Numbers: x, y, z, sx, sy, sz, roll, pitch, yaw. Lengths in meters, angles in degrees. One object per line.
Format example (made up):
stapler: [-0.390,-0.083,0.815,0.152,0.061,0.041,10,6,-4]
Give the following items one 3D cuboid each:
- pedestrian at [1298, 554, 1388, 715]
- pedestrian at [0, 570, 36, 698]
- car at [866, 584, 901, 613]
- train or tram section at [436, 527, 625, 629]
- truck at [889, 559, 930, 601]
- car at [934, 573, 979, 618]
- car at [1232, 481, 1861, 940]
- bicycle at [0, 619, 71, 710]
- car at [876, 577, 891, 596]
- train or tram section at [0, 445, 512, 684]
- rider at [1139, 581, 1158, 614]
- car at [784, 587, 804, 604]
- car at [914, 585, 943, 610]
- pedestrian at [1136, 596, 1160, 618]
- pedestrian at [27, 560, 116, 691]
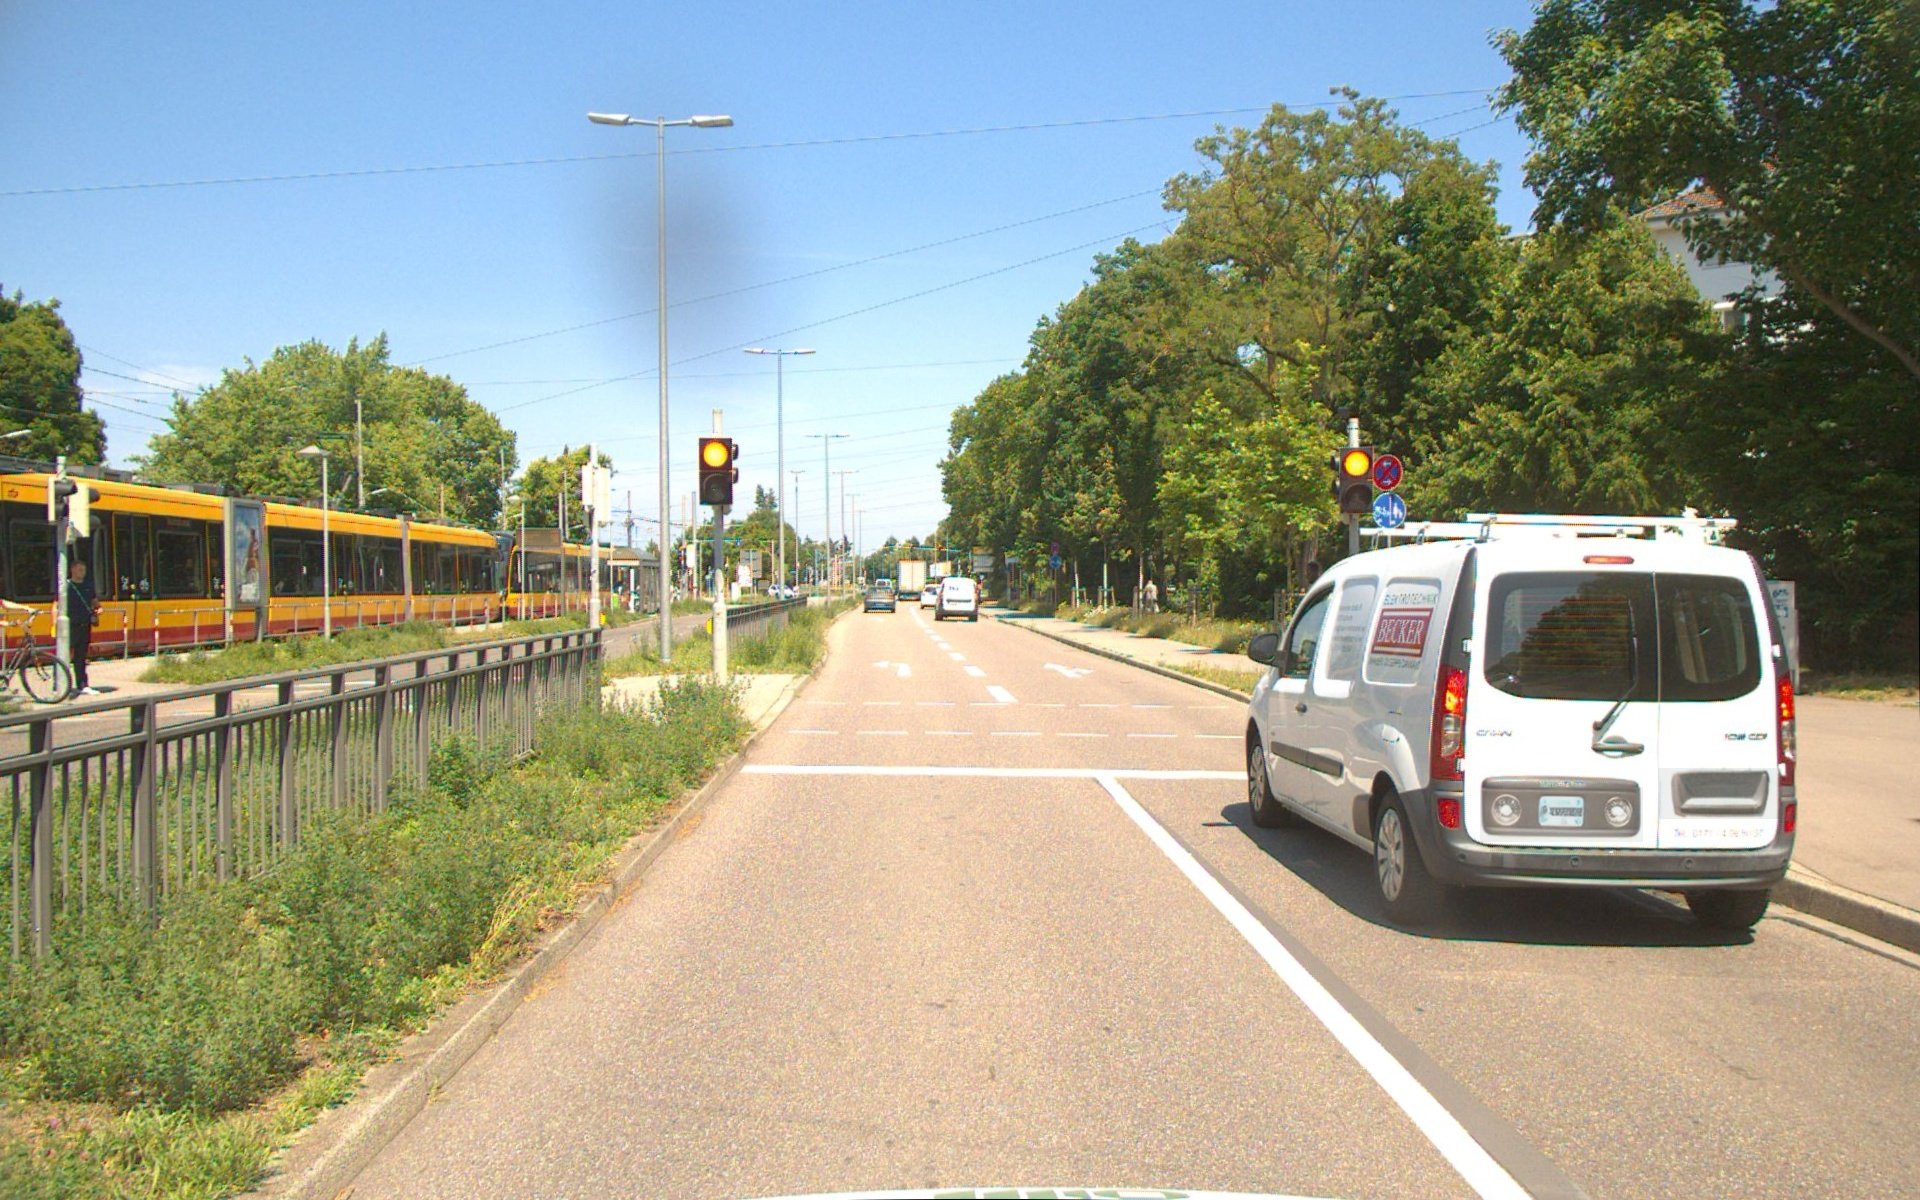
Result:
pedestrian: [4.606,0.403,19.942,1.024,1.882,0.758,1,0,12]
pedestrian: [-12.778,0.433,21.780,0.802,1.657,0.705,0,0,3]
car: [-4.056,-0.110,87.998,1.765,1.512,3.999,0,1,-1]
train or tram section: [-18.373,-0.912,73.675,2.732,3.732,25.986,0,0,-2]
truck: [-4.927,-1.950,159.000,3.821,3.879,10.787,0,1,-3]
car: [-0.124,-0.229,70.882,1.692,1.845,4.002,1,1,2]
car: [2.849,0.452,9.209,1.787,1.914,4.454,1,0,-2]
bicycle: [-12.629,0.839,21.696,1.824,1.177,0.243,0,0,2]
car: [-8.083,-1.419,174.957,1.654,1.930,3.868,0,0,-3]
train or tram section: [-17.037,-0.673,42.016,2.732,3.732,37.500,0,0,-2]
rider: [7.485,-0.115,65.780,0.664,1.304,0.533,0,0,-3]
car: [-16.782,-0.453,167.429,1.955,1.679,3.995,0,1,-6]
car: [-1.994,-0.171,103.690,1.767,1.566,3.998,0,0,-2]
pedestrian: [7.478,0.269,65.825,0.664,0.862,1.773,0,0,-3]
pedestrian: [-12.603,0.350,23.476,0.939,1.828,0.704,0,0,27]
